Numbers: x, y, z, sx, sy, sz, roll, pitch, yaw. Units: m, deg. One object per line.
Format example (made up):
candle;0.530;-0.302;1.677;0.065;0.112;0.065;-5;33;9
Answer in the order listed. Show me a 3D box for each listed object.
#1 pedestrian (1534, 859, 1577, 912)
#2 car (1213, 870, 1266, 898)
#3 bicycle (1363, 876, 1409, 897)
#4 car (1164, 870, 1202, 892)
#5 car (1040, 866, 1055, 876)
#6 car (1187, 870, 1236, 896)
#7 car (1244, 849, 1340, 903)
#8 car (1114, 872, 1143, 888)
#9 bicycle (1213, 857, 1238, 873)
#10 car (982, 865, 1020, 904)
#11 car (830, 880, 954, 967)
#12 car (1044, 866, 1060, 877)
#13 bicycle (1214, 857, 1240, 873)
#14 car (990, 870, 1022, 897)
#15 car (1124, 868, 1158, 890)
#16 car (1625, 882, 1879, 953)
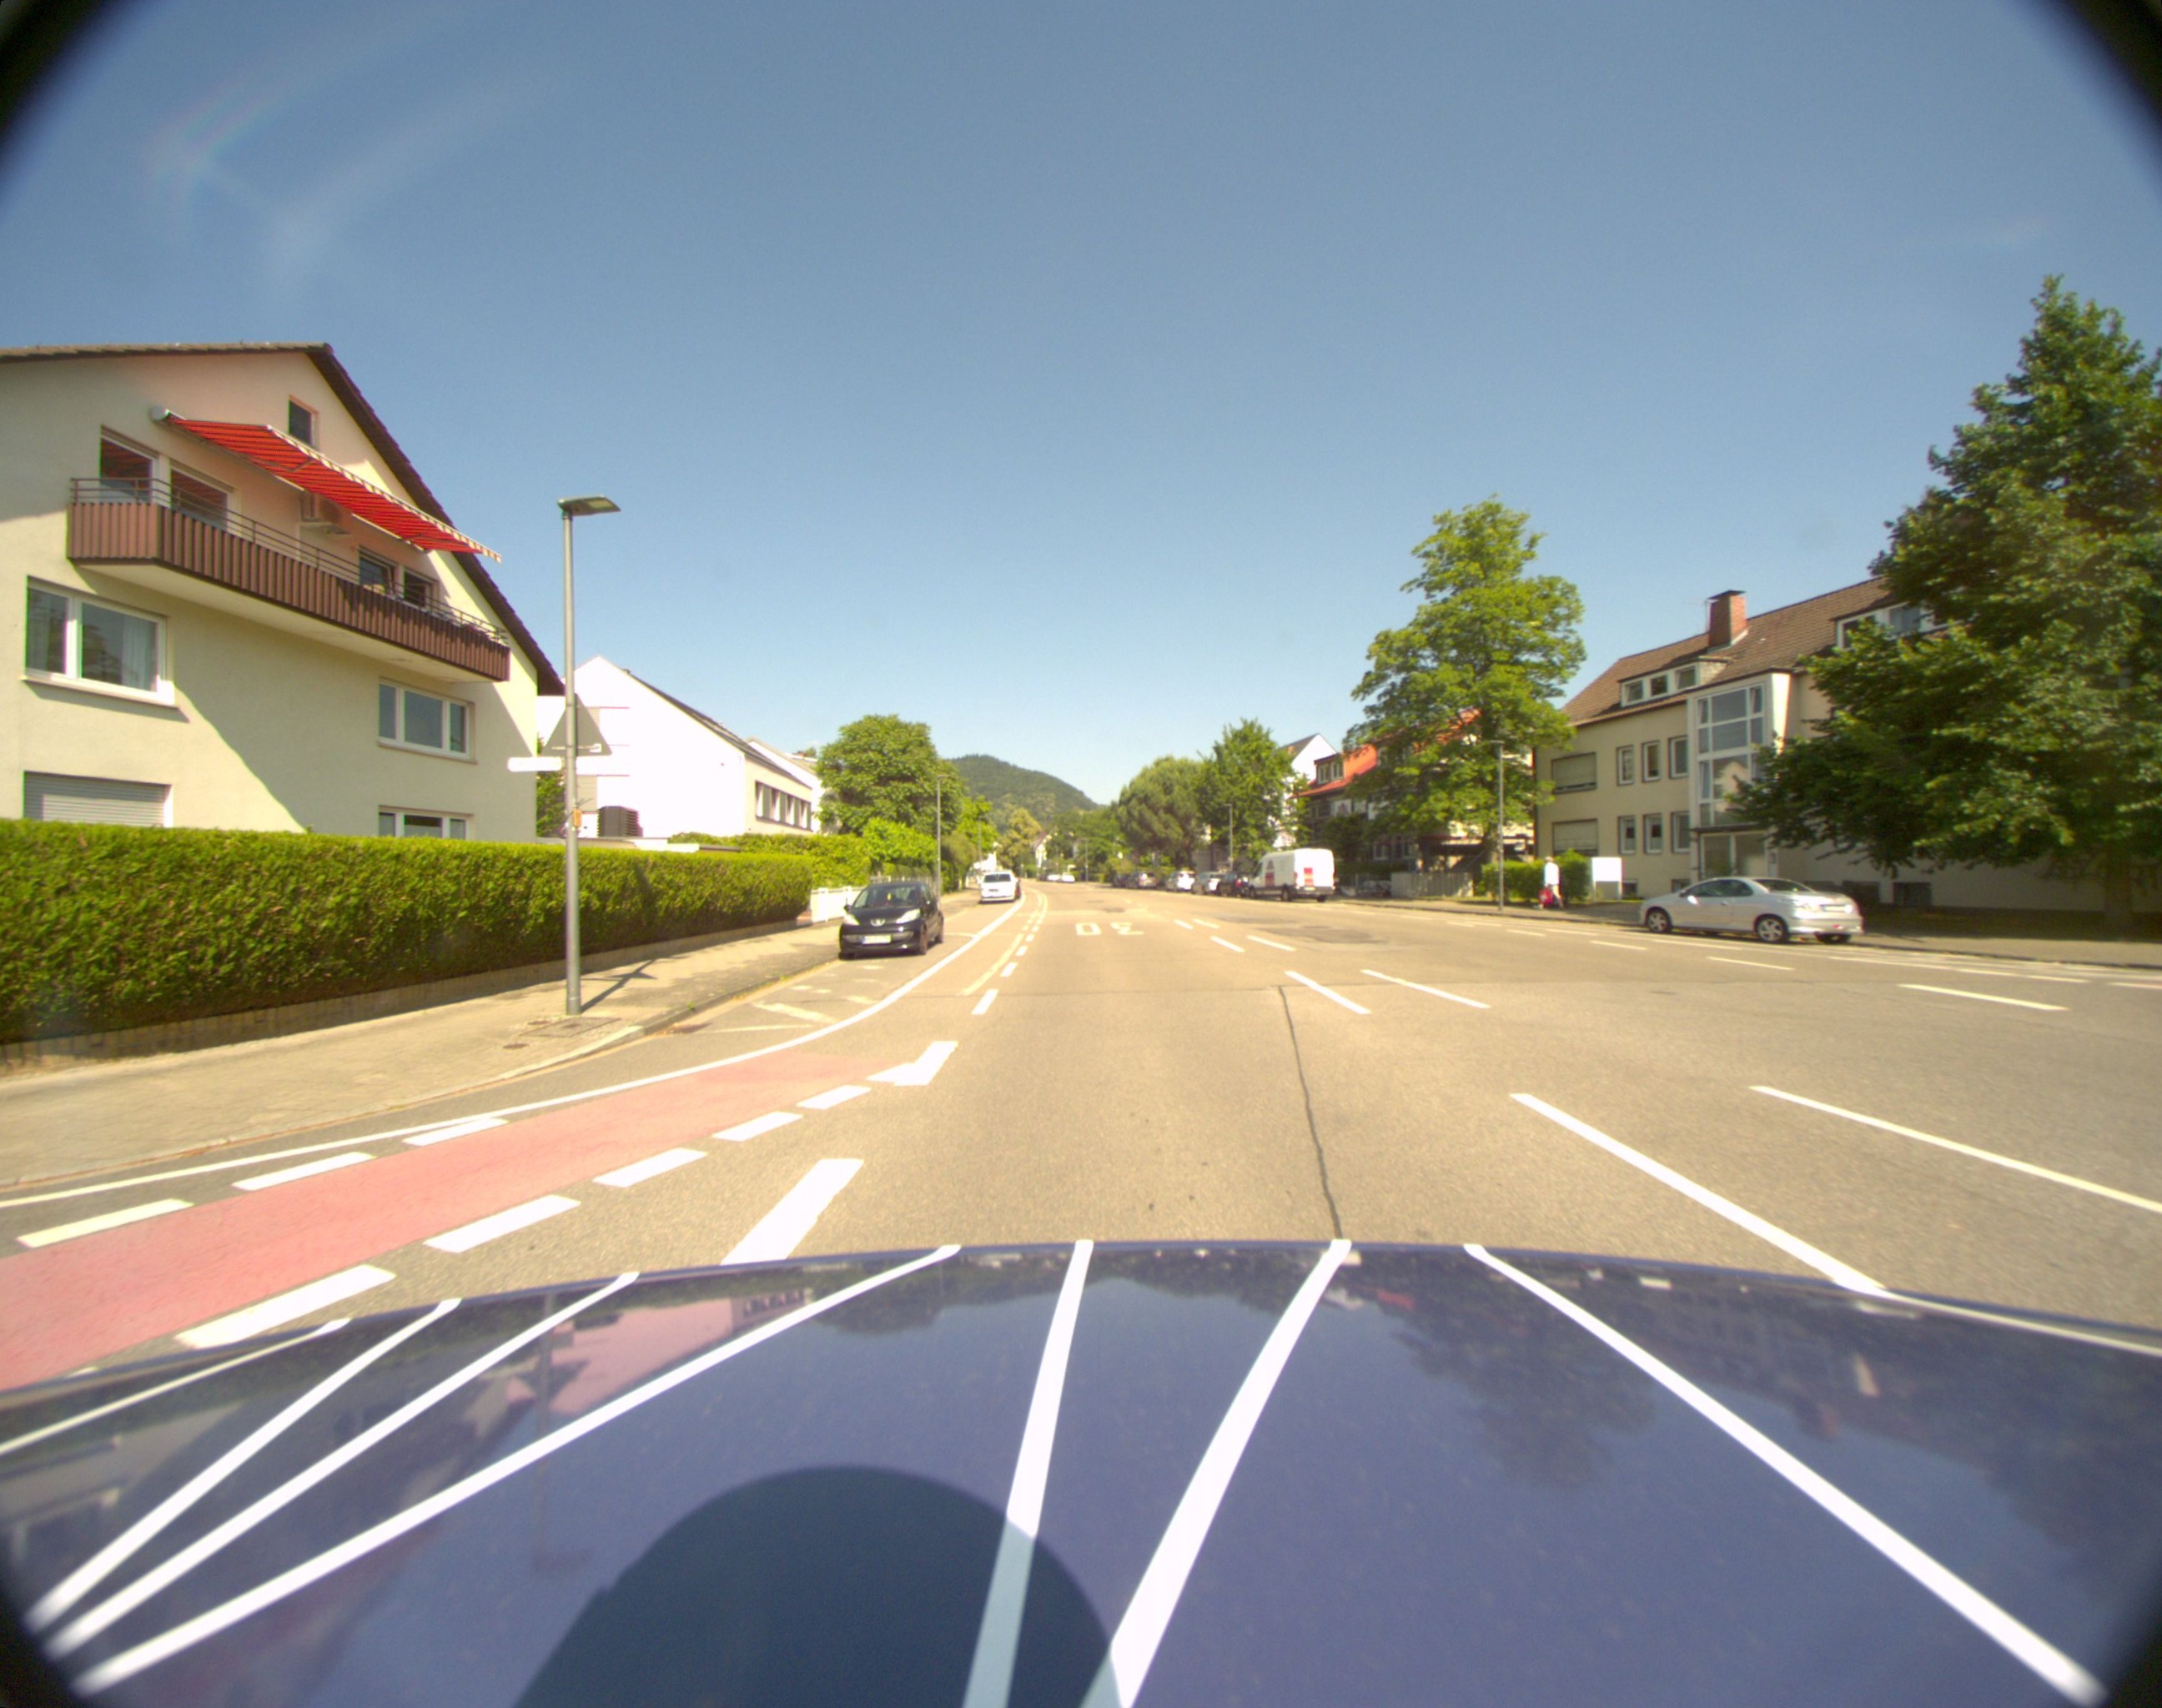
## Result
pedestrian;16.004;1.051;25.655;0.976;1.769;0.725;-1;0;-5
car;9.100;1.695;43.938;1.726;1.549;3.998;0;-1;-8
bicycle;15.583;1.637;38.835;2.074;0.995;0.775;-1;0;-7
car;7.303;1.895;54.712;1.726;1.549;3.998;0;-1;-8
car;-5.559;2.823;125.507;2.000;1.674;3.997;-1;0;-9
car;8.293;1.832;48.609;1.726;1.549;4.669;0;-1;-8
car;10.395;1.081;38.020;2.096;2.481;5.947;0;-1;-12
car;4.395;2.368;70.928;1.847;1.448;4.190;0;-1;-10
bicycle;12.659;0.934;66.479;2.179;1.375;0.502;0;-1;-13
car;-4.299;1.613;41.523;1.767;1.816;4.596;-3;0;-4
car;-3.841;1.347;16.096;1.621;1.382;3.999;-4;0;-1
car;-4.463;2.684;117.383;2.000;1.608;3.997;-1;0;-9
bicycle;12.879;0.964;67.090;2.179;1.375;0.502;0;-1;-13
car;-4.546;1.778;46.729;1.767;1.584;4.312;-1;-1;-3
car;5.152;2.125;65.498;1.847;1.754;4.582;0;-1;-10
car;14.326;1.290;16.573;1.726;1.259;3.998;0;-1;-8
